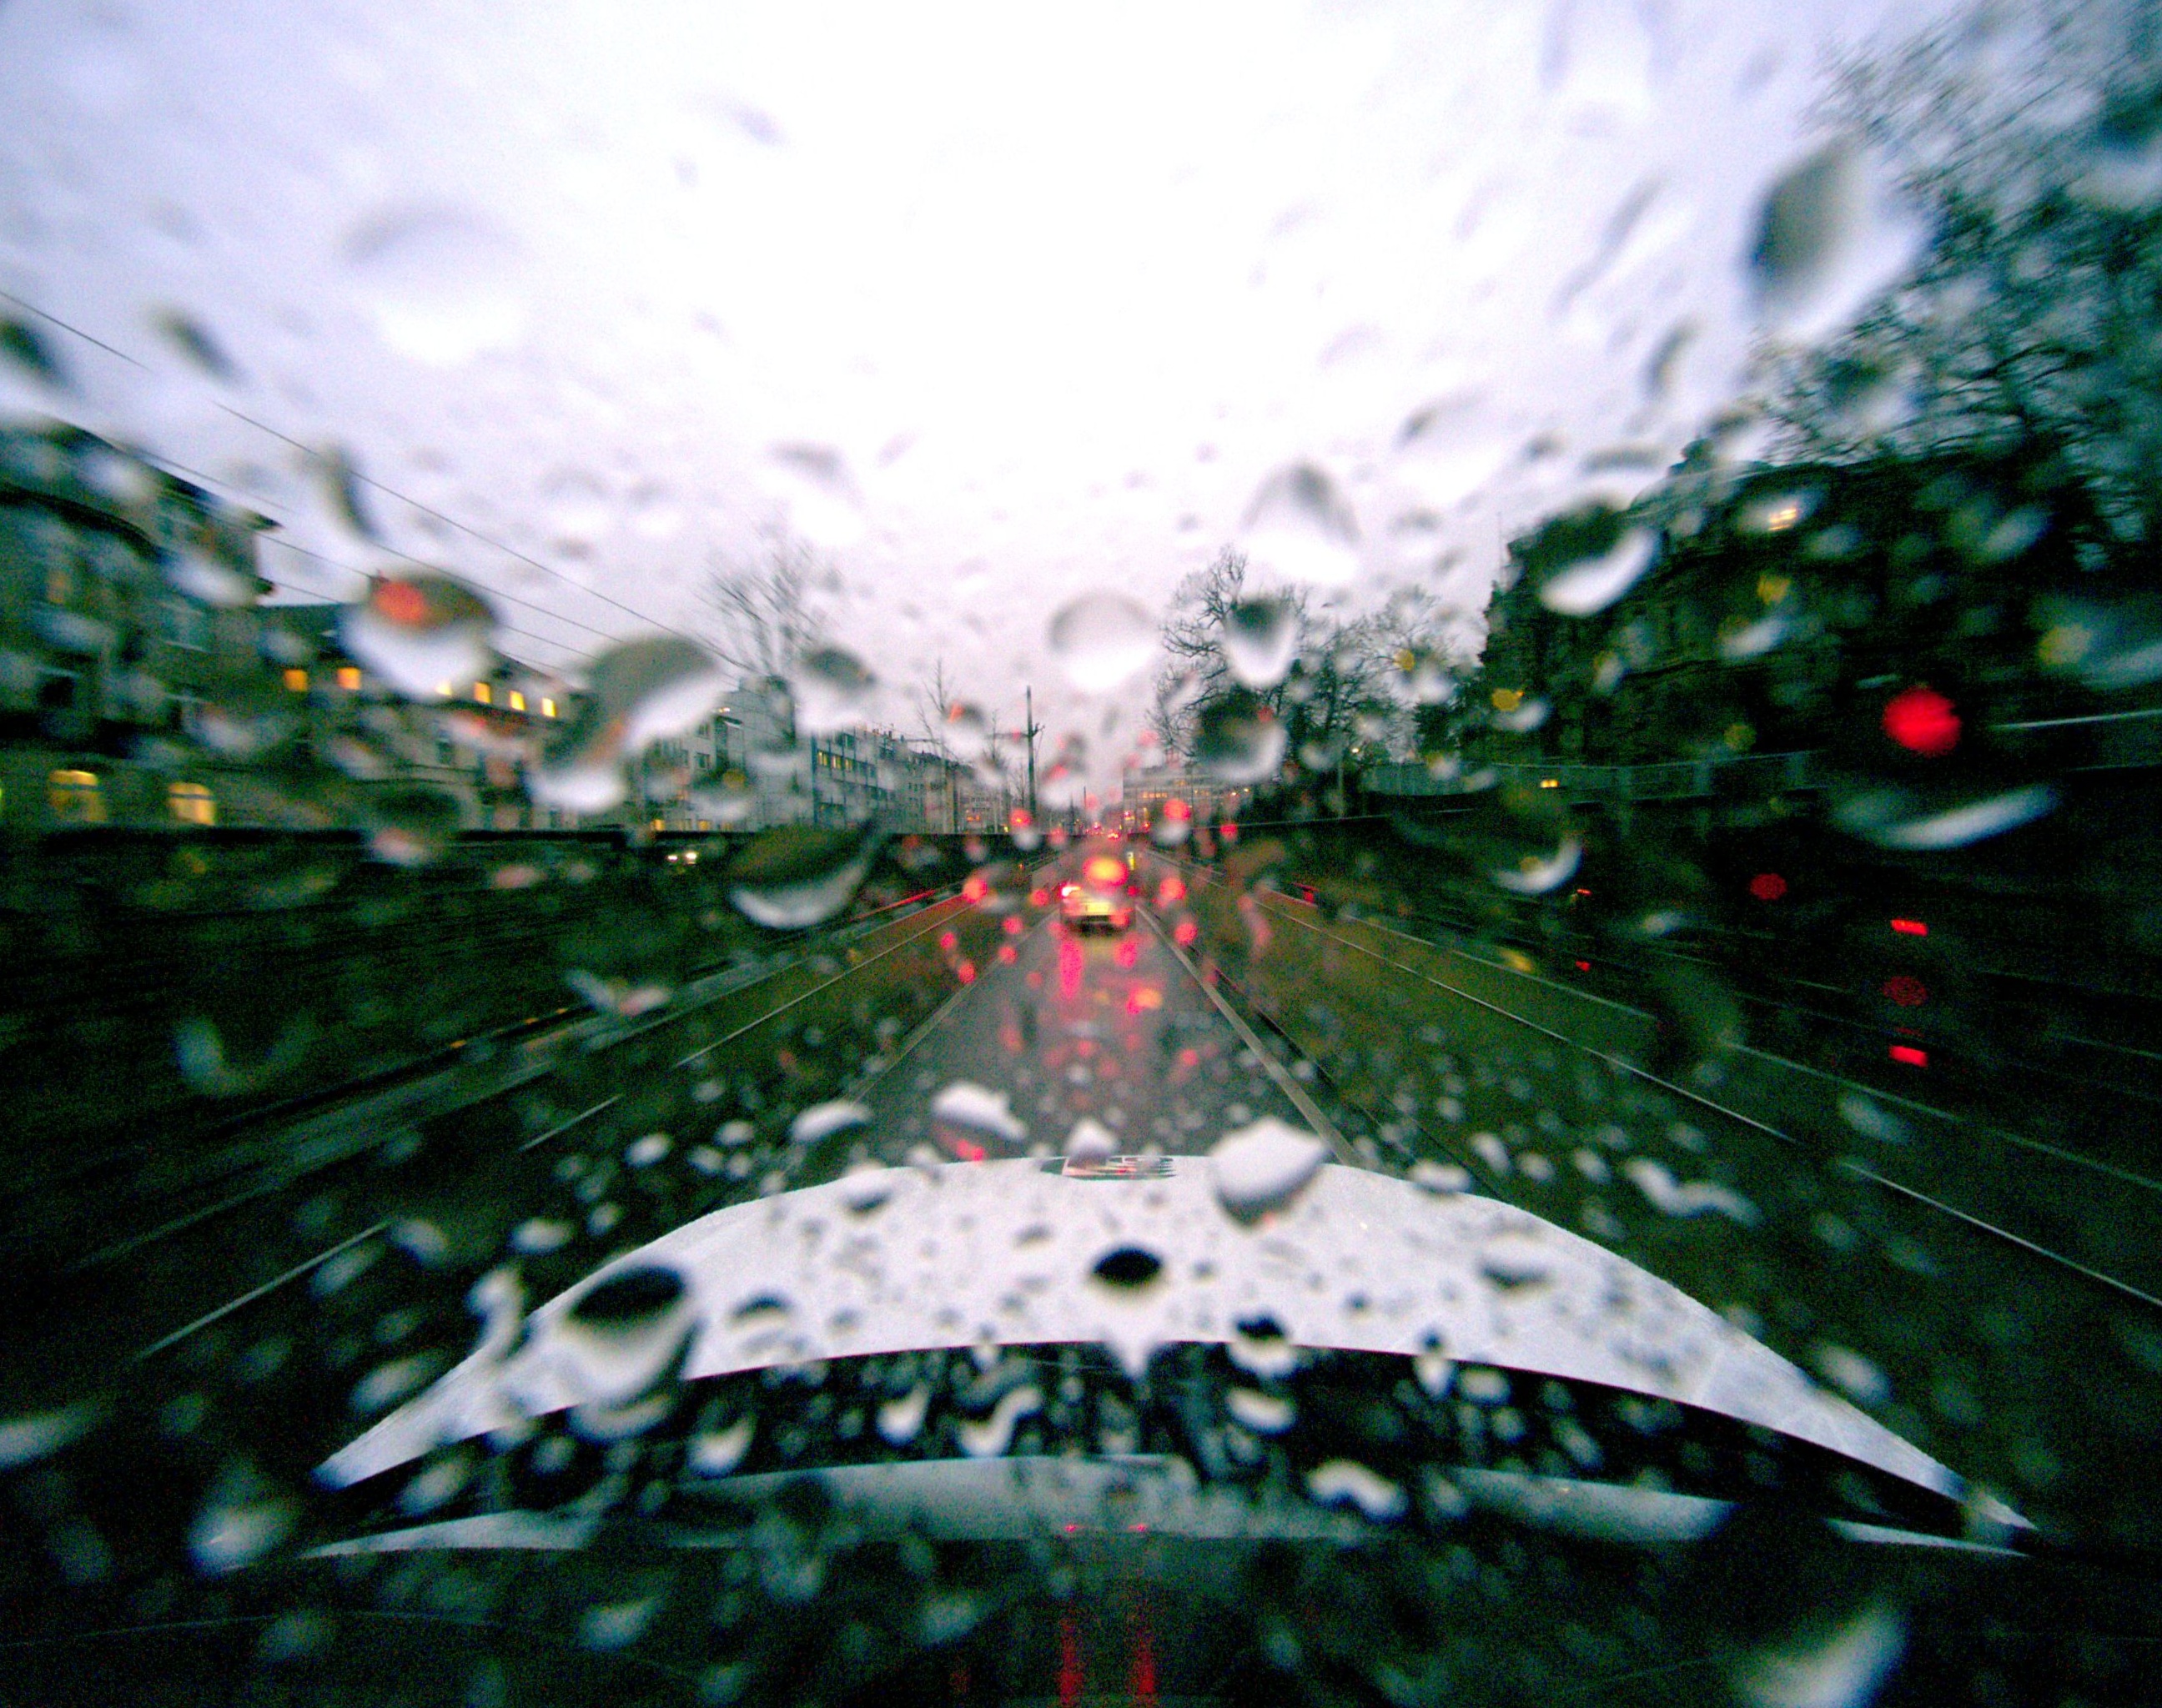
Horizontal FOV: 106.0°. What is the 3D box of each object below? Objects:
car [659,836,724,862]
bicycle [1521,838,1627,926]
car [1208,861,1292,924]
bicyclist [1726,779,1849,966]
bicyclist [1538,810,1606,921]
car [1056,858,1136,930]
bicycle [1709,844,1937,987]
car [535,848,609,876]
[{"bbox_3d":[-25.866,-0.362,54.248,1.985,1.631,4.434,-1,1,3],"label":"car"},{"bbox_3d":[7.354,0.369,12.245,0.410,1.185,1.948,-2,2,1],"label":"bicycle"},{"bbox_3d":[4.559,0.980,22.477,1.715,1.479,4.004,0,1,4],"label":"car"},{"bbox_3d":[7.079,0.168,8.195,0.498,1.767,0.837,-2,1,0],"label":"bicyclist"},{"bbox_3d":[7.352,0.159,12.222,0.498,1.591,0.837,-2,1,0],"label":"bicyclist"},{"bbox_3d":[0.451,0.864,19.358,1.715,1.479,4.004,0,0,4],"label":"car"},{"bbox_3d":[7.164,0.520,8.016,0.410,1.185,2.029,-2,2,1],"label":"bicycle"},{"bbox_3d":[-30.119,0.428,48.324,1.800,1.436,3.927,-2,2,0],"label":"car"}]
